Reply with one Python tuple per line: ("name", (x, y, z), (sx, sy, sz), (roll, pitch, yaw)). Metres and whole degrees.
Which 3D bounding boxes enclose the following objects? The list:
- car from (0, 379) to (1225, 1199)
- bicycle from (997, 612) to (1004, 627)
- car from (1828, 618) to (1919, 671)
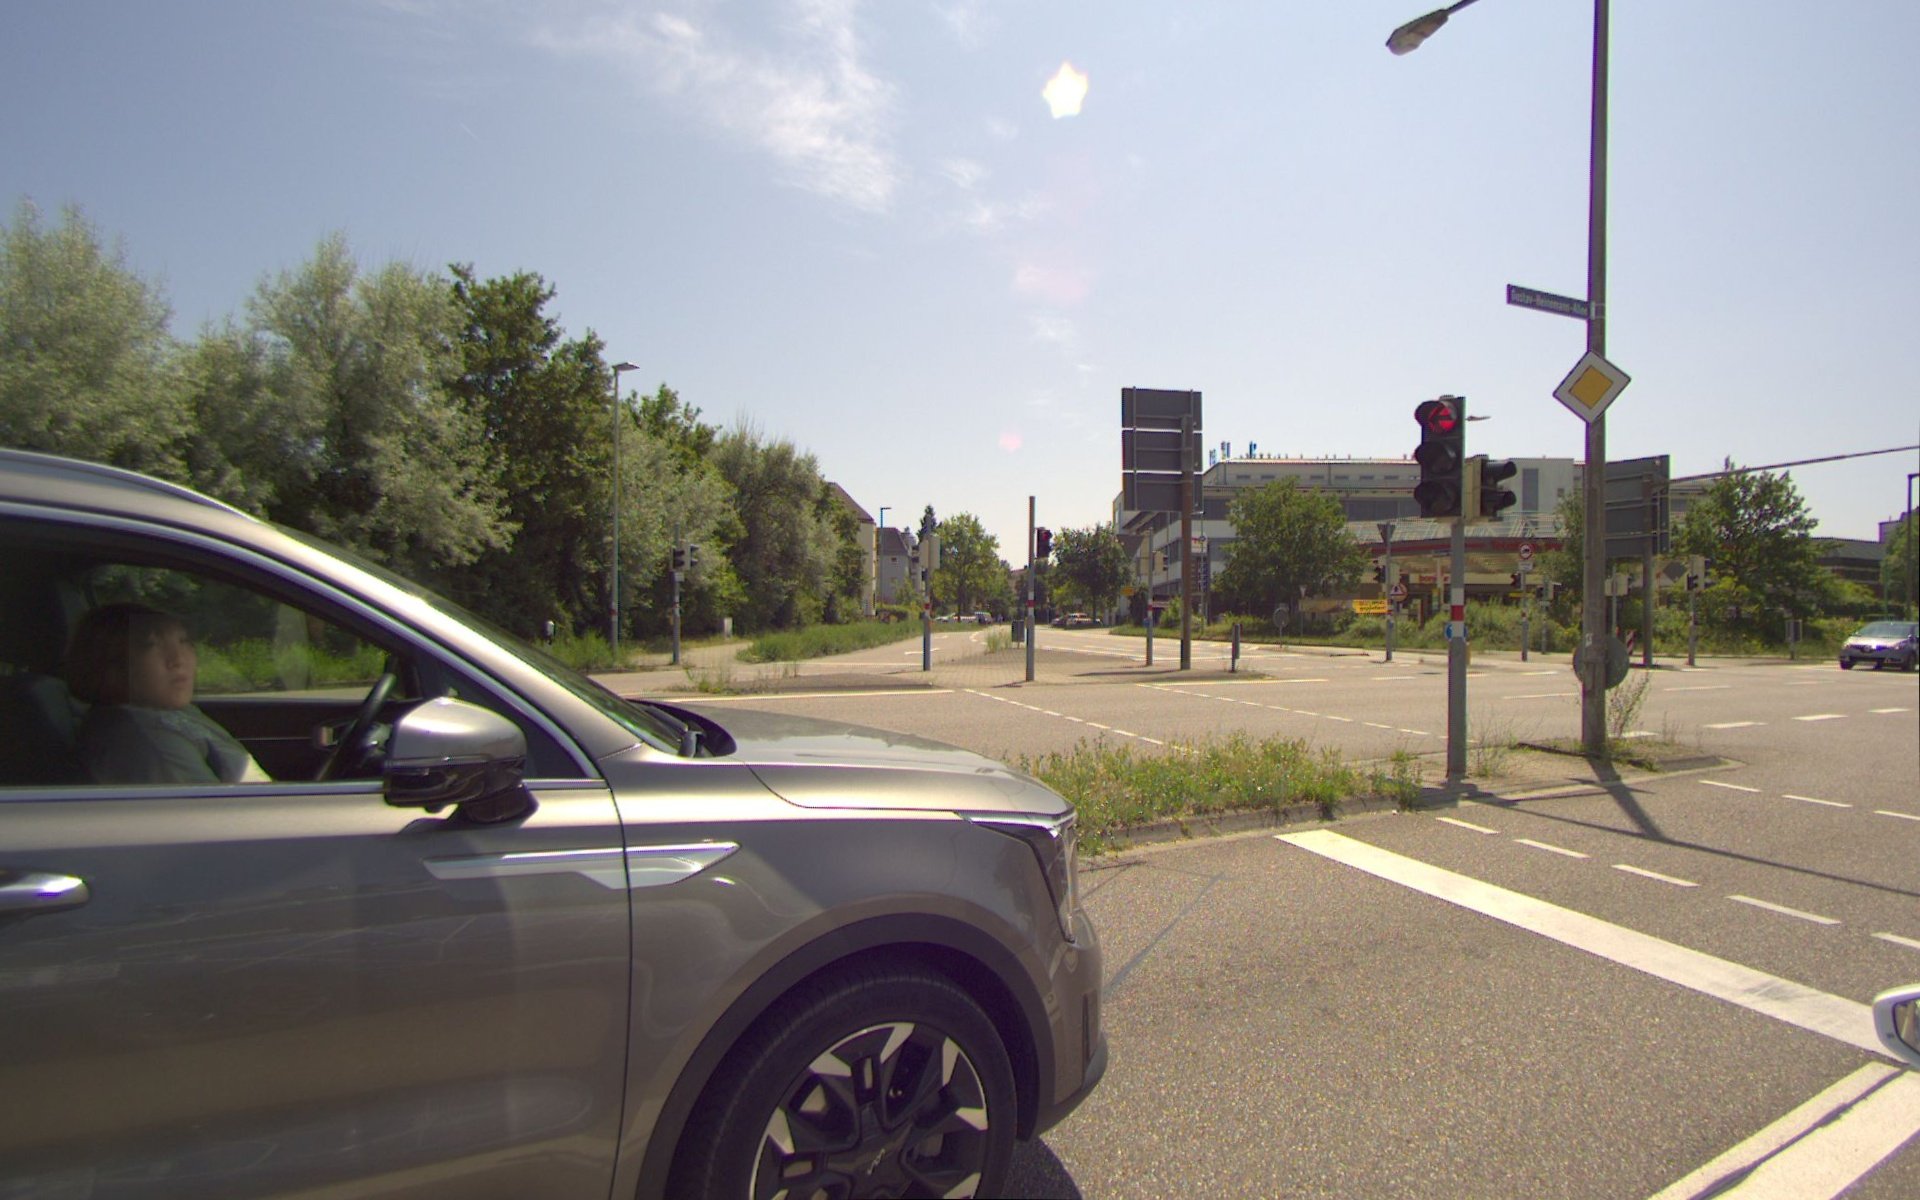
("car", (-1.706, 0.563, 2.071), (4.480, 1.690, 1.771), (1, -1, -31))
("bicycle", (5.956, 2.867, 148.007), (0.876, 2.040, 3.196), (0, -1, 6))
("car", (30.074, 1.410, 32.659), (3.954, 1.560, 1.650), (1, 1, -31))
